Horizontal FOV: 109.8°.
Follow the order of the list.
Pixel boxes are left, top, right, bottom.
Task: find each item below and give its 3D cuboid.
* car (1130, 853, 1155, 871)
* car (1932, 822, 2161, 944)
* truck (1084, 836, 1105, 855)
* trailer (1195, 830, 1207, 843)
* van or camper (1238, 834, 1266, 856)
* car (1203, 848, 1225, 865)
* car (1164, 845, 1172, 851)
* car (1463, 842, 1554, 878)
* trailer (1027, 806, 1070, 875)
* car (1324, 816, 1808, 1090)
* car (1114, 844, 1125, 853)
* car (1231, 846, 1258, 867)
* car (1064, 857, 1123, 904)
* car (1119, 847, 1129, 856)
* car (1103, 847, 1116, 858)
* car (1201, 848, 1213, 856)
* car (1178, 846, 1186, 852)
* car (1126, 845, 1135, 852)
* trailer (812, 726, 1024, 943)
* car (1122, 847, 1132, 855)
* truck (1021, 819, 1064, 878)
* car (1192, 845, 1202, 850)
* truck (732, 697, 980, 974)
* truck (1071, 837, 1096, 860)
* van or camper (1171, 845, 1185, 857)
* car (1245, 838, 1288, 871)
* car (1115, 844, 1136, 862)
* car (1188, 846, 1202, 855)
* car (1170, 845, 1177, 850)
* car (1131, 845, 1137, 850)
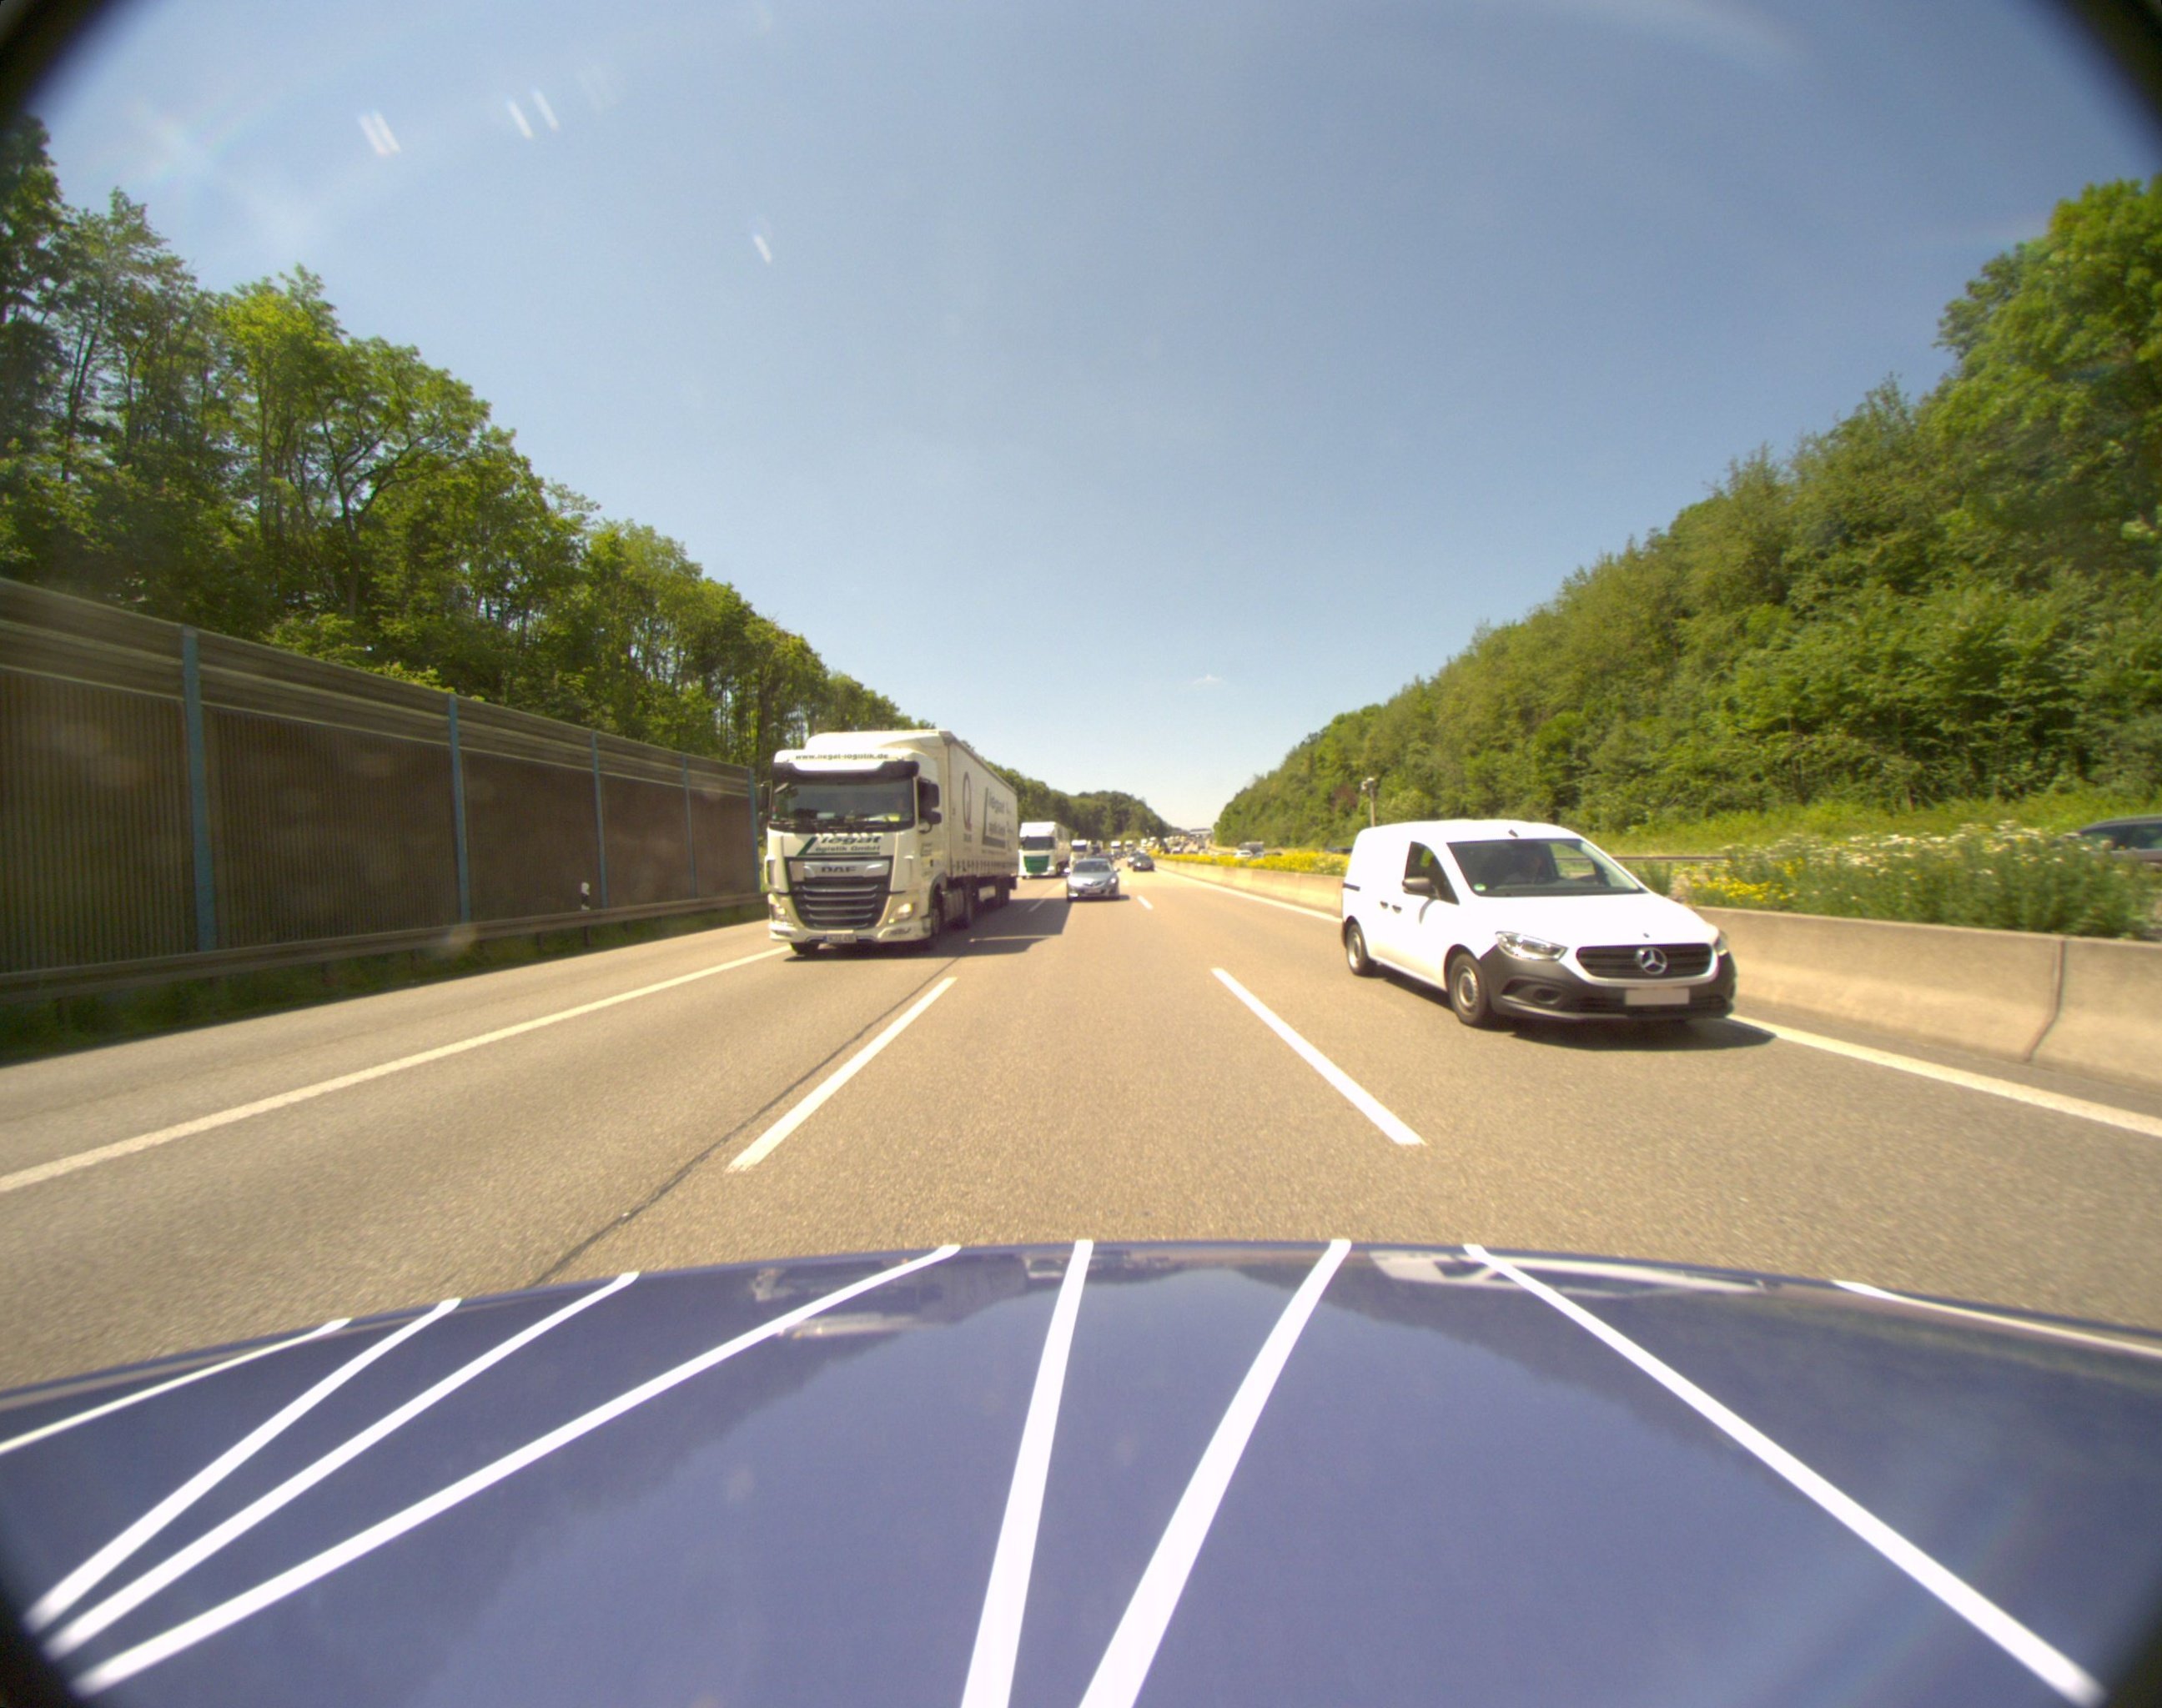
[{"bbox_3d":[5.321,0.685,65.704,1.720,1.470,3.999,-2,0,-1],"label":"car"},{"bbox_3d":[15.014,0.351,10.395,1.998,1.577,4.273,-2,0,1],"label":"car"},{"bbox_3d":[2.823,-1.688,151.807,3.557,3.695,7.552,-2,1,5],"label":"truck"},{"bbox_3d":[42.088,-6.203,266.453,2.721,4.184,13.933,-2,1,4],"label":"trailer"},{"bbox_3d":[21.651,-1.166,96.550,2.191,2.546,6.931,-2,1,2],"label":"van or camper"},{"bbox_3d":[12.419,0.191,71.297,1.481,1.434,3.563,-2,1,1],"label":"car"},{"bbox_3d":[23.761,-1.578,207.772,1.998,1.464,4.875,-2,1,6],"label":"car"},{"bbox_3d":[18.841,0.207,33.682,1.792,1.448,3.999,-2,1,1],"label":"car"},{"bbox_3d":[-2.508,-1.142,63.967,2.574,5.011,15.269,-2,1,1],"label":"trailer"},{"bbox_3d":[4.019,0.659,7.460,1.769,1.802,4.673,-2,0,0],"label":"car"},{"bbox_3d":[11.555,-1.707,228.368,2.696,2.467,6.586,-1,1,7],"label":"car"},{"bbox_3d":[17.296,0.249,80.485,1.998,2.002,4.567,-2,1,3],"label":"car"},{"bbox_3d":[0.447,0.881,26.895,1.887,1.458,4.247,-2,0,1],"label":"car"},{"bbox_3d":[8.736,-0.595,154.653,1.998,1.728,4.001,-2,1,5],"label":"car"},{"bbox_3d":[4.735,-0.290,126.431,1.998,1.728,4.001,-2,1,5],"label":"car"},{"bbox_3d":[26.922,-0.491,162.645,1.998,1.607,4.485,-2,0,5],"label":"car"},{"bbox_3d":[28.685,-1.461,214.886,1.998,1.477,4.000,-2,1,4],"label":"car"},{"bbox_3d":[13.512,-1.519,206.533,1.997,1.728,4.001,-1,1,7],"label":"car"},{"bbox_3d":[-3.708,-0.351,21.602,2.792,4.180,13.244,-2,0,1],"label":"trailer"},{"bbox_3d":[10.981,-0.659,180.264,1.997,1.728,4.001,-1,1,7],"label":"car"},{"bbox_3d":[-2.708,-0.458,55.744,2.542,4.006,6.624,-2,1,1],"label":"truck"},{"bbox_3d":[31.684,-1.747,207.459,1.998,1.434,4.171,-2,1,2],"label":"car"},{"bbox_3d":[-3.869,-0.268,14.667,2.793,4.180,5.870,-2,0,1],"label":"truck"},{"bbox_3d":[0.429,-0.868,115.248,3.262,3.337,6.863,-2,1,4],"label":"truck"},{"bbox_3d":[17.571,-0.626,137.476,1.887,2.002,4.587,-2,1,1],"label":"van or camper"},{"bbox_3d":[11.969,-0.002,49.260,1.998,2.002,4.000,-2,1,3],"label":"car"},{"bbox_3d":[5.052,-0.129,87.044,1.999,2.002,3.998,-2,1,-1],"label":"car"},{"bbox_3d":[21.029,-0.659,140.785,1.998,1.681,4.400,-2,1,2],"label":"car"},{"bbox_3d":[29.741,-2.120,244.849,1.998,1.477,4.000,-2,1,4],"label":"car"},{"bbox_3d":[17.108,-2.108,244.259,1.998,1.728,4.001,-2,1,5],"label":"car"}]
